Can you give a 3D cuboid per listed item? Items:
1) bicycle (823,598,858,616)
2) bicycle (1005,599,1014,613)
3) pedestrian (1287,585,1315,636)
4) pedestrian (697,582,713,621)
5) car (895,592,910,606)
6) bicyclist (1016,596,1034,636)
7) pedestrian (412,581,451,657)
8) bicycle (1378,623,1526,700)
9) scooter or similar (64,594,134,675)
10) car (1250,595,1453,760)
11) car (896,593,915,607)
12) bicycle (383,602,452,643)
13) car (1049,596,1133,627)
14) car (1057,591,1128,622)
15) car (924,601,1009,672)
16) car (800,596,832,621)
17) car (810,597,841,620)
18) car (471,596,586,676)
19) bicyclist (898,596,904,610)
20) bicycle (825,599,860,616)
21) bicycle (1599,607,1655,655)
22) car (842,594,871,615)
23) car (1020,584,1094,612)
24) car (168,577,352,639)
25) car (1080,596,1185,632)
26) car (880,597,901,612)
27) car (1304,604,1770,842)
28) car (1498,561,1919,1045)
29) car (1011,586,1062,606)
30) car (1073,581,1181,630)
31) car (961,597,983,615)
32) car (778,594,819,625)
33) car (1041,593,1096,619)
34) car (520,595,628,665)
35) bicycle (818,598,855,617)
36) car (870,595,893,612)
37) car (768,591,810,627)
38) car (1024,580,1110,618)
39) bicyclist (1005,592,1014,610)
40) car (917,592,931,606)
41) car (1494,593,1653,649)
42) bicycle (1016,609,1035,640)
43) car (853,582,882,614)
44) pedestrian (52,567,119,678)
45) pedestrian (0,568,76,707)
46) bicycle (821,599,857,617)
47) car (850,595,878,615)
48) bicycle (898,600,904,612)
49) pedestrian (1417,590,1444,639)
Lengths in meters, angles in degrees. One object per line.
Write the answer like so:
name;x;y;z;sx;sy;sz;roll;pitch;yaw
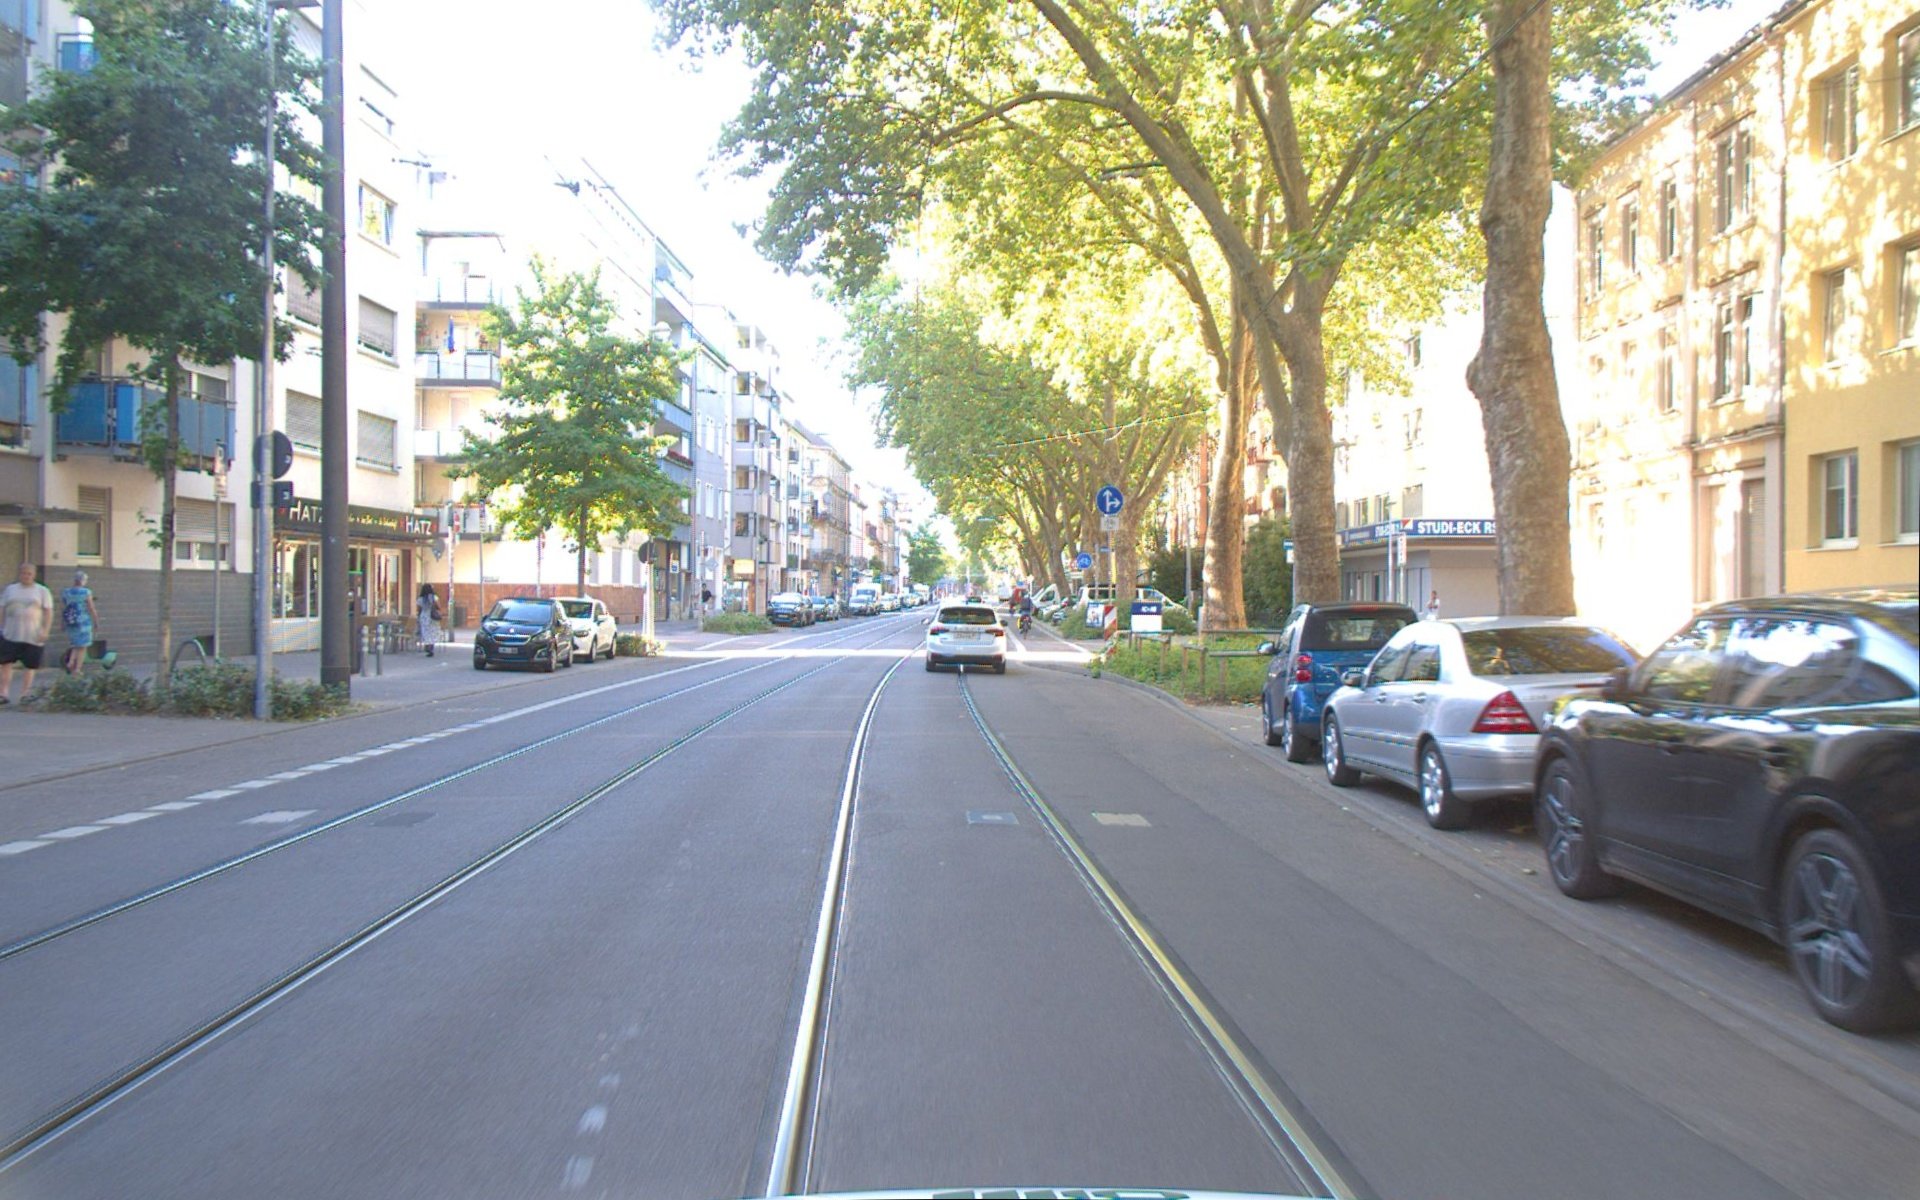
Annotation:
bicycle;-8.645;0.544;119.598;2.475;1.193;0.718;2;-2;-5
bicycle;3.734;0.450;124.778;0.636;1.089;1.583;0;0;-1
pedestrian;12.814;0.402;62.152;0.751;1.899;1.188;0;0;-3
pedestrian;-12.452;0.077;80.874;0.650;1.858;0.965;0;0;-1
car;-8.444;-0.172;242.055;1.952;2.049;4.000;0;0;1
bicyclist;2.389;0.583;60.757;0.664;1.468;1.047;0;0;1
pedestrian;-12.106;0.420;37.921;0.650;1.720;0.748;0;0;-1
bicycle;7.042;0.885;23.703;1.925;1.023;0.510;-3;-1;27
scooter or similar;-14.499;0.568;27.874;0.367;1.312;1.238;-2;0;8
car;3.989;0.754;17.247;1.531;1.545;2.911;-1;-1;3
car;-6.486;0.018;196.917;1.952;1.668;4.000;1;0;1
bicycle;-16.093;0.667;49.064;1.903;1.177;0.572;-2;0;15
car;6.576;0.552;83.056;4.058;1.540;1.931;0;0;0
car;7.491;0.377;93.963;3.905;1.709;1.723;0;0;-1
car;0.107;0.744;35.688;1.726;1.408;3.999;0;0;-1
car;-8.684;0.488;99.798;1.620;1.462;3.836;0;0;-1
car;-8.513;0.512;104.723;1.454;1.428;3.992;0;0;3
car;-9.018;0.712;34.843;1.680;1.489;3.995;4;0;-6
bicyclist;-5.373;0.262;150.567;0.585;1.308;0.917;0;0;-2
bicycle;-8.618;0.548;121.502;2.476;1.193;0.718;2;-2;-6
bicycle;16.303;0.739;40.443;0.570;1.123;1.922;-2;0;0
car;-8.031;0.353;128.868;1.952;1.557;4.000;0;0;1
car;8.010;-0.186;137.452;6.006;2.322;2.529;0;0;-1
car;-21.512;0.248;50.990;4.778;1.854;2.037;0;0;-4
car;7.187;0.571;69.257;4.209;1.505;1.830;0;0;-1
car;-7.331;0.426;174.884;1.952;1.557;4.000;0;0;1
car;4.124;0.802;12.733;1.780;1.461;4.600;-1;-1;-3
car;4.111;0.688;7.329;1.820;1.631;4.781;-1;-1;-1
car;9.100;-0.466;197.676;6.006;2.322;2.529;0;0;-1
car;7.209;0.238;71.836;4.452;2.113;2.000;0;0;-2
car;0.977;0.480;134.355;1.725;1.501;4.001;0;0;1
car;-8.660;0.496;89.045;1.667;1.571;4.242;3;0;1
car;6.980;0.386;106.583;3.558;1.695;1.823;0;0;3
car;-9.151;0.686;39.503;1.679;1.489;4.374;4;0;-3
bicycle;-8.704;0.548;116.841;2.508;1.193;0.871;3;-2;-39
car;-7.621;0.338;160.922;1.952;1.557;4.000;0;0;1
car;-8.645;0.436;83.860;1.668;1.679;4.241;3;0;-1
car;7.642;-0.096;118.833;6.006;2.681;2.529;0;0;-1
bicyclist;3.728;0.066;124.791;0.636;1.367;0.934;0;0;-1
car;-5.271;-0.146;244.496;1.952;2.049;4.000;0;0;1
car;18.580;0.630;50.196;4.050;1.621;1.998;0;0;-5
bicycle;2.394;0.888;60.728;0.667;1.089;1.781;0;0;1
car;-7.817;-0.169;140.594;2.133;2.642;4.949;0;0;1
pedestrian;-13.772;0.355;26.066;0.650;1.720;0.748;0;0;-1
pedestrian;-11.757;0.460;20.892;0.748;1.720;0.794;0;0;-1
bicycle;-8.631;0.551;117.723;2.476;1.193;0.718;2;-2;-6
car;-7.800;0.385;134.648;1.952;1.557;4.000;0;0;1
bicycle;-5.375;0.553;150.501;0.593;1.089;1.582;0;0;-2
pedestrian;16.235;0.484;57.061;0.731;1.673;0.666;0;0;2
